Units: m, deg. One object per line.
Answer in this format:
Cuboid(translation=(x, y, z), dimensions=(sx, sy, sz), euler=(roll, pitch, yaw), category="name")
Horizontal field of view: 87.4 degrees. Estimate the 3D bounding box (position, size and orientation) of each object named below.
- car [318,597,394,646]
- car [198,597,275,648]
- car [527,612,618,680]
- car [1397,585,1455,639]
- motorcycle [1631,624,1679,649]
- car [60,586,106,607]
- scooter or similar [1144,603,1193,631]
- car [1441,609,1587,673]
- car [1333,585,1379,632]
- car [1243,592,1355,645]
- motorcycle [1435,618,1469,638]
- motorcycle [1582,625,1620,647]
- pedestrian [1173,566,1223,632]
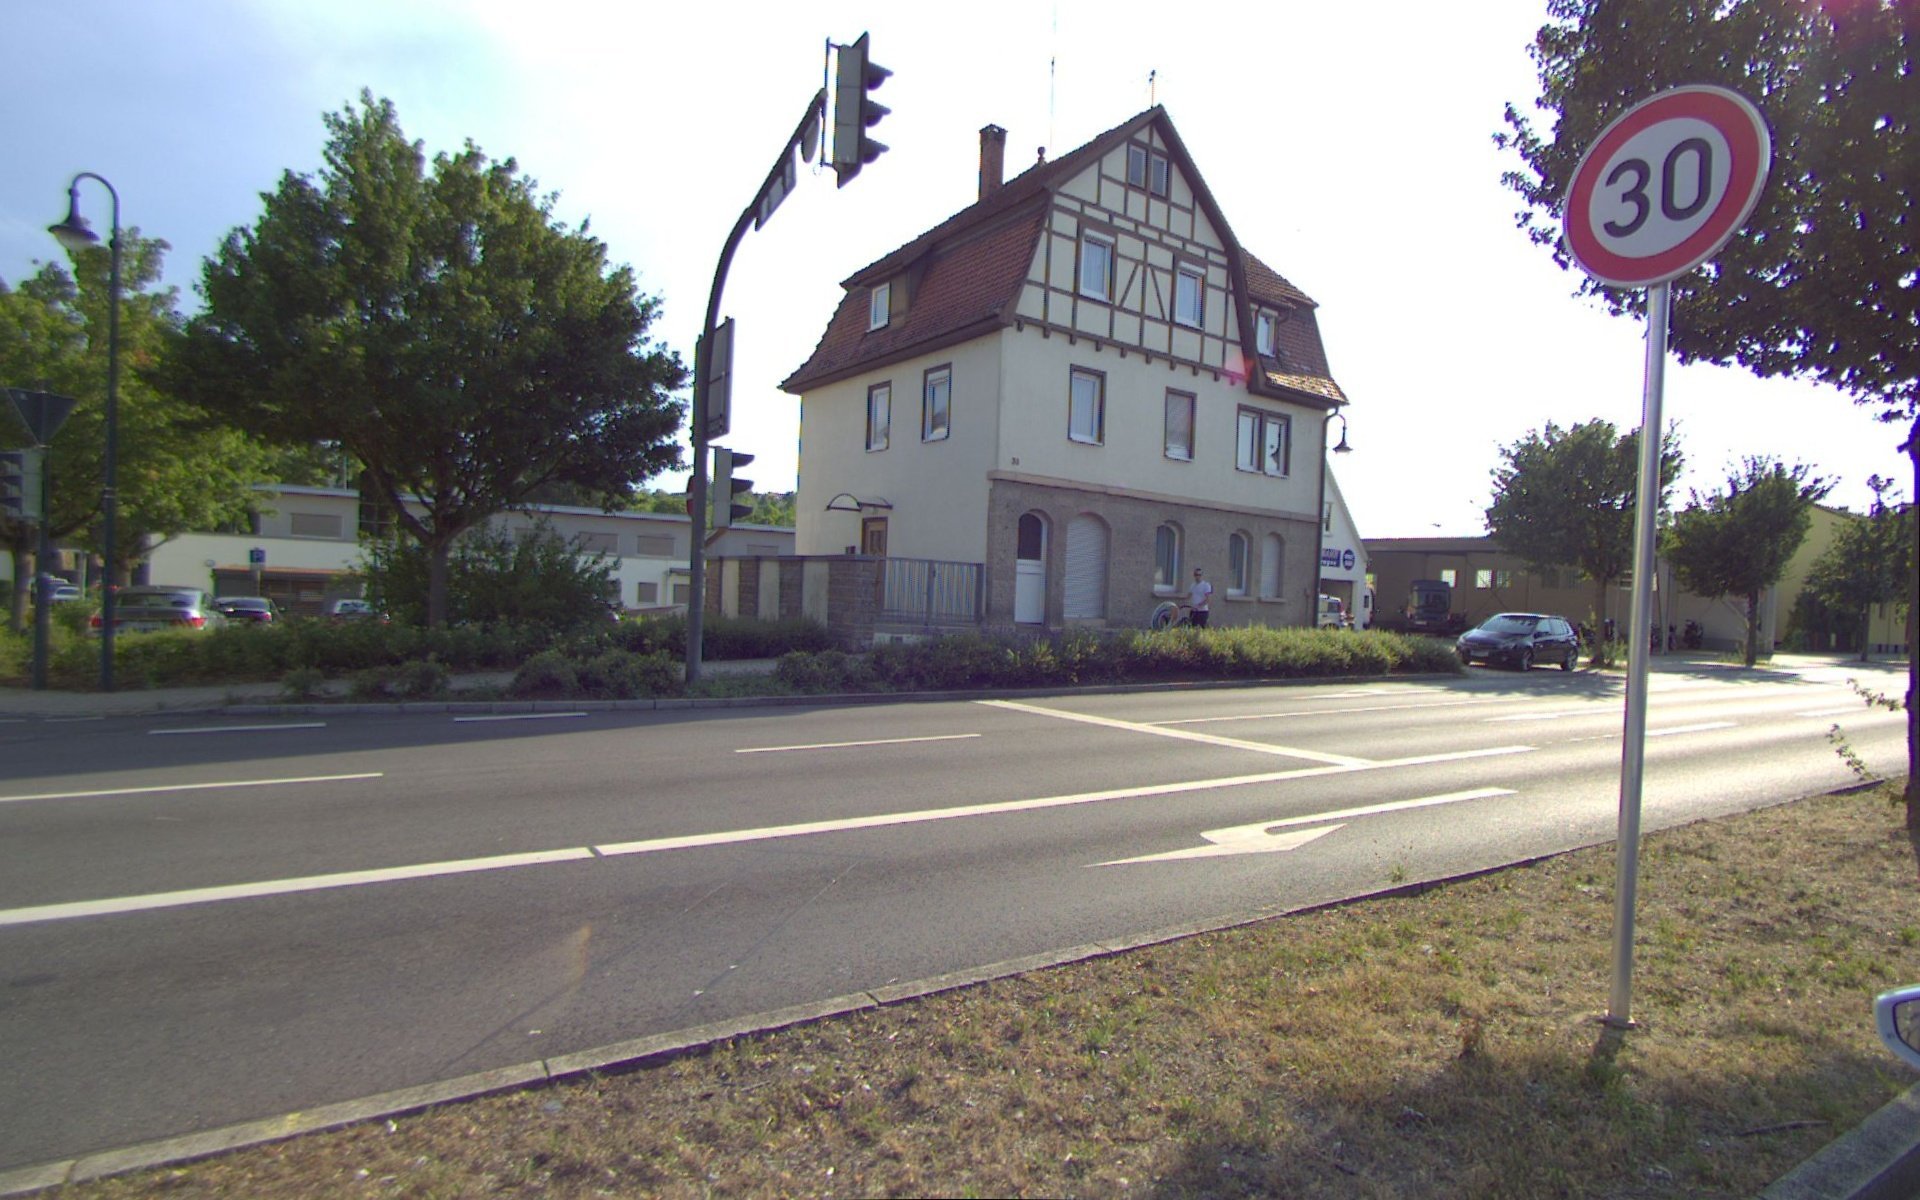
Cuboid(translation=(-18.779, 0.654, 31.176), dimensions=(1.731, 1.418, 3.621), euler=(2, -1, -35), category="car")
Cuboid(translation=(-21.345, 0.642, 29.698), dimensions=(1.731, 1.418, 3.621), euler=(2, -1, -35), category="car")
Cuboid(translation=(-9.463, 1.073, 24.417), dimensions=(1.543, 1.489, 3.585), euler=(2, -1, -29), category="car")
Cuboid(translation=(23.444, 0.549, 50.695), dimensions=(2.002, 2.367, 4.320), euler=(4, 3, 18), category="car")
Cuboid(translation=(32.216, 1.695, 46.588), dimensions=(1.832, 1.083, 0.517), euler=(1, 0, 2), category="motorcycle")
Cuboid(translation=(-58.549, -0.217, 67.083), dimensions=(1.729, 1.276, 3.561), euler=(1, -1, -32), category="car")
Cuboid(translation=(4.466, 0.361, 21.460), dimensions=(1.033, 0.590, 0.440), euler=(1, 0, -35), category="scooter or similar")
Cuboid(translation=(15.087, 1.083, 27.313), dimensions=(4.090, 1.474, 1.745), euler=(1, 4, -34), category="car")
Cuboid(translation=(20.960, 0.377, 53.263), dimensions=(2.003, 2.179, 4.318), euler=(5, 3, 21), category="car")
Cuboid(translation=(12.080, 0.620, 35.864), dimensions=(3.608, 1.497, 1.824), euler=(5, 4, 20), category="car")
Cuboid(translation=(26.859, 1.519, 54.838), dimensions=(1.605, 1.083, 0.517), euler=(1, 0, -2), category="motorcycle")
Cuboid(translation=(30.899, 1.746, 48.421), dimensions=(1.513, 1.018, 0.517), euler=(1, 0, -4), category="motorcycle")
Cuboid(translation=(5.214, -0.025, 22.017), dimensions=(0.700, 1.413, 0.807), euler=(1, 0, -35), category="pedestrian")
